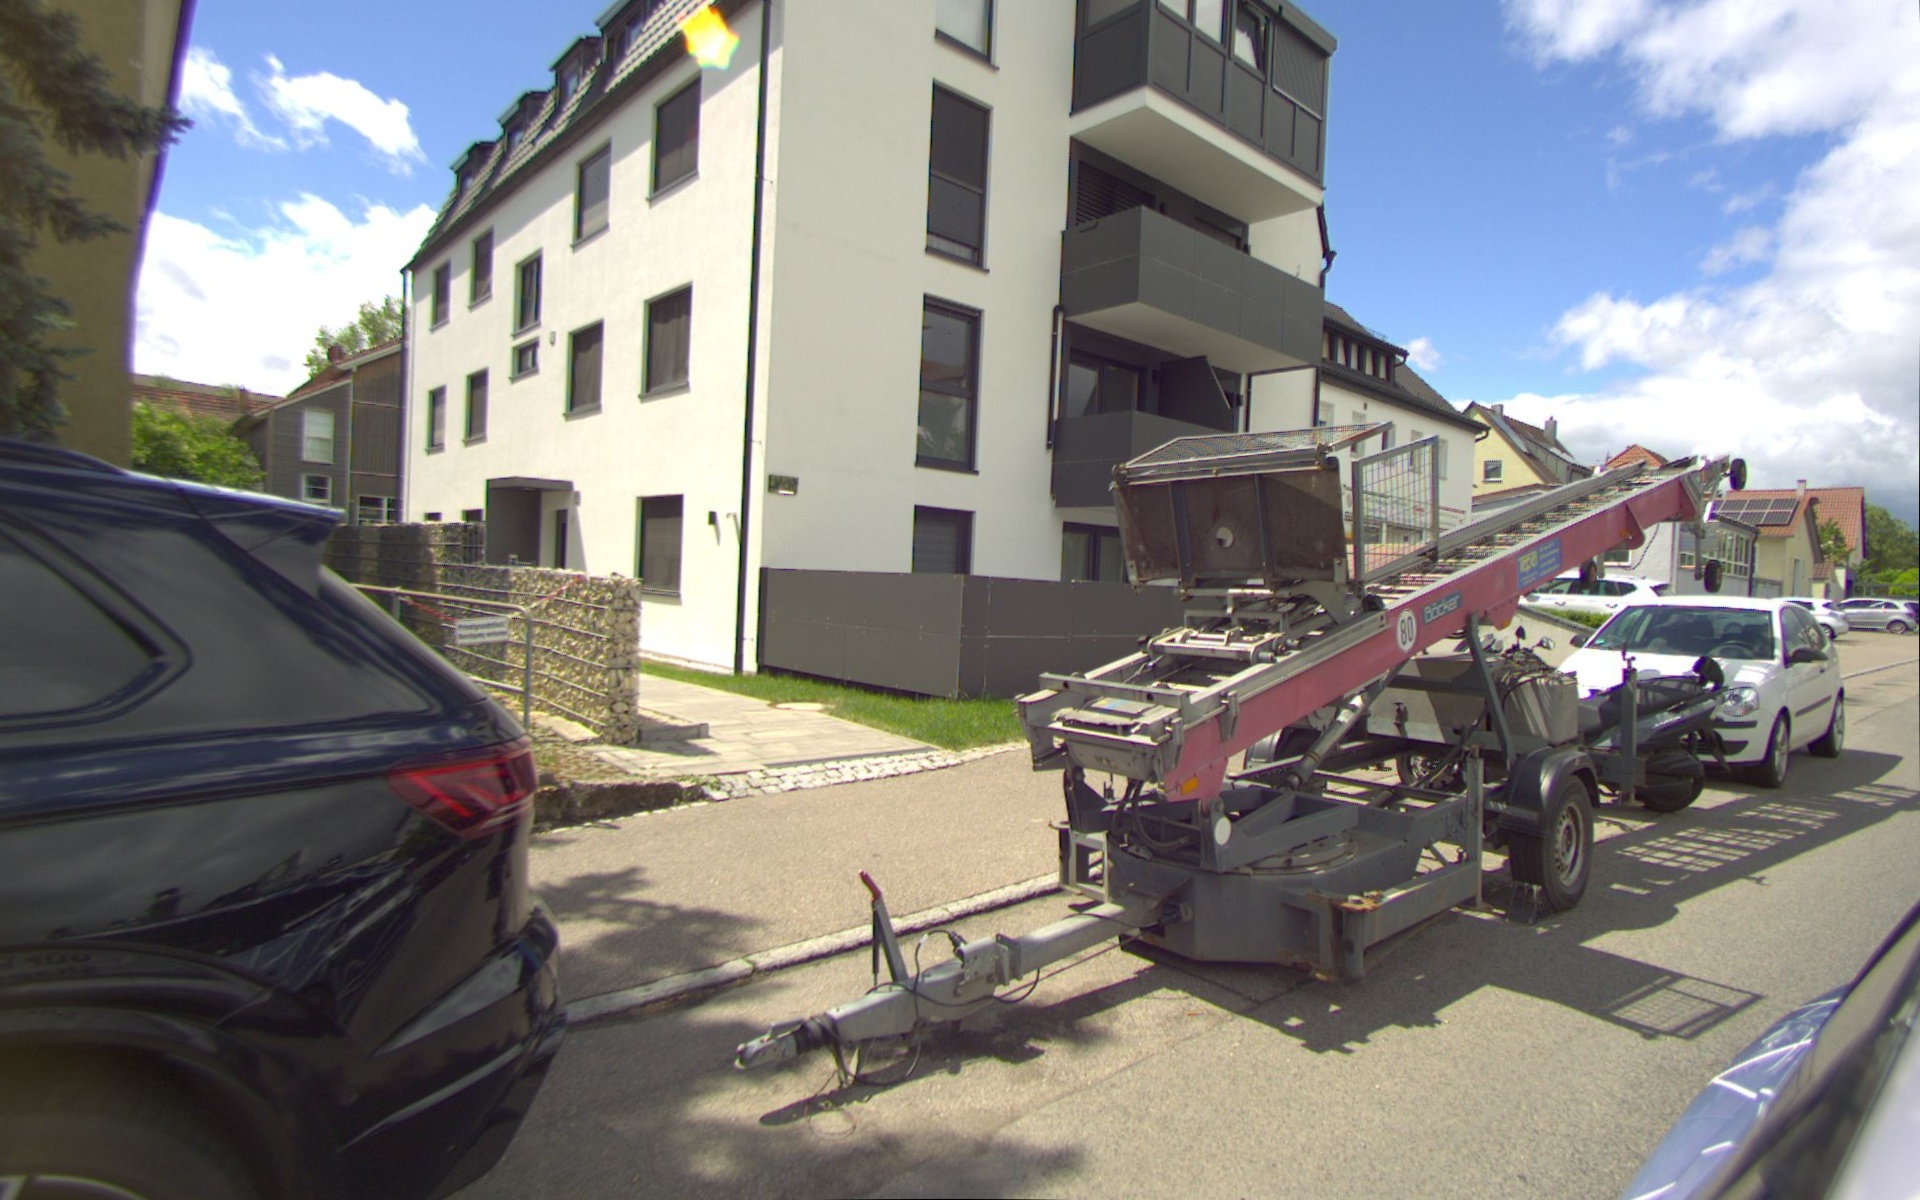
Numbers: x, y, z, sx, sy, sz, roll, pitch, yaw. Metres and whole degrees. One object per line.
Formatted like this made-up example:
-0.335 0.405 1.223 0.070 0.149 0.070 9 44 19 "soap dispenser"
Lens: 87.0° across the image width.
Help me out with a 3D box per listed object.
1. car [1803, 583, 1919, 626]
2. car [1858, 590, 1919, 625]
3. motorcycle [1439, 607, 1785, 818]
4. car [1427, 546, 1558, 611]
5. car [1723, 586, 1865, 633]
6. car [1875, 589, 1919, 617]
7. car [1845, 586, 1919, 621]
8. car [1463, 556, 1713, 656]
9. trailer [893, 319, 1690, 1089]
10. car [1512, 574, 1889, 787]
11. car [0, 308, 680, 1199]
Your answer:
43.031 0.205 48.005 1.941 1.627 4.415 0 5 -43 "car"
46.707 0.387 50.266 1.942 1.543 2.893 0 5 -43 "car"
4.360 0.712 6.927 1.797 1.225 0.714 2 1 15 "motorcycle"
15.084 -0.596 28.607 3.593 1.537 1.639 2 4 -34 "car"
31.131 0.317 37.866 1.719 1.629 3.905 1 0 -42 "car"
55.517 0.275 57.940 1.941 1.423 4.415 0 5 -43 "car"
49.526 0.233 53.117 1.941 1.543 4.415 0 5 -43 "car"
13.631 0.053 22.181 1.834 1.673 4.203 0 6 -41 "car"
1.846 0.262 4.859 4.042 2.171 1.776 0 2 -41 "trailer"
6.789 0.576 9.149 3.911 1.449 1.725 1 3 -39 "car"
-2.881 0.455 1.055 4.633 1.748 1.877 0 3 -43 "car"
